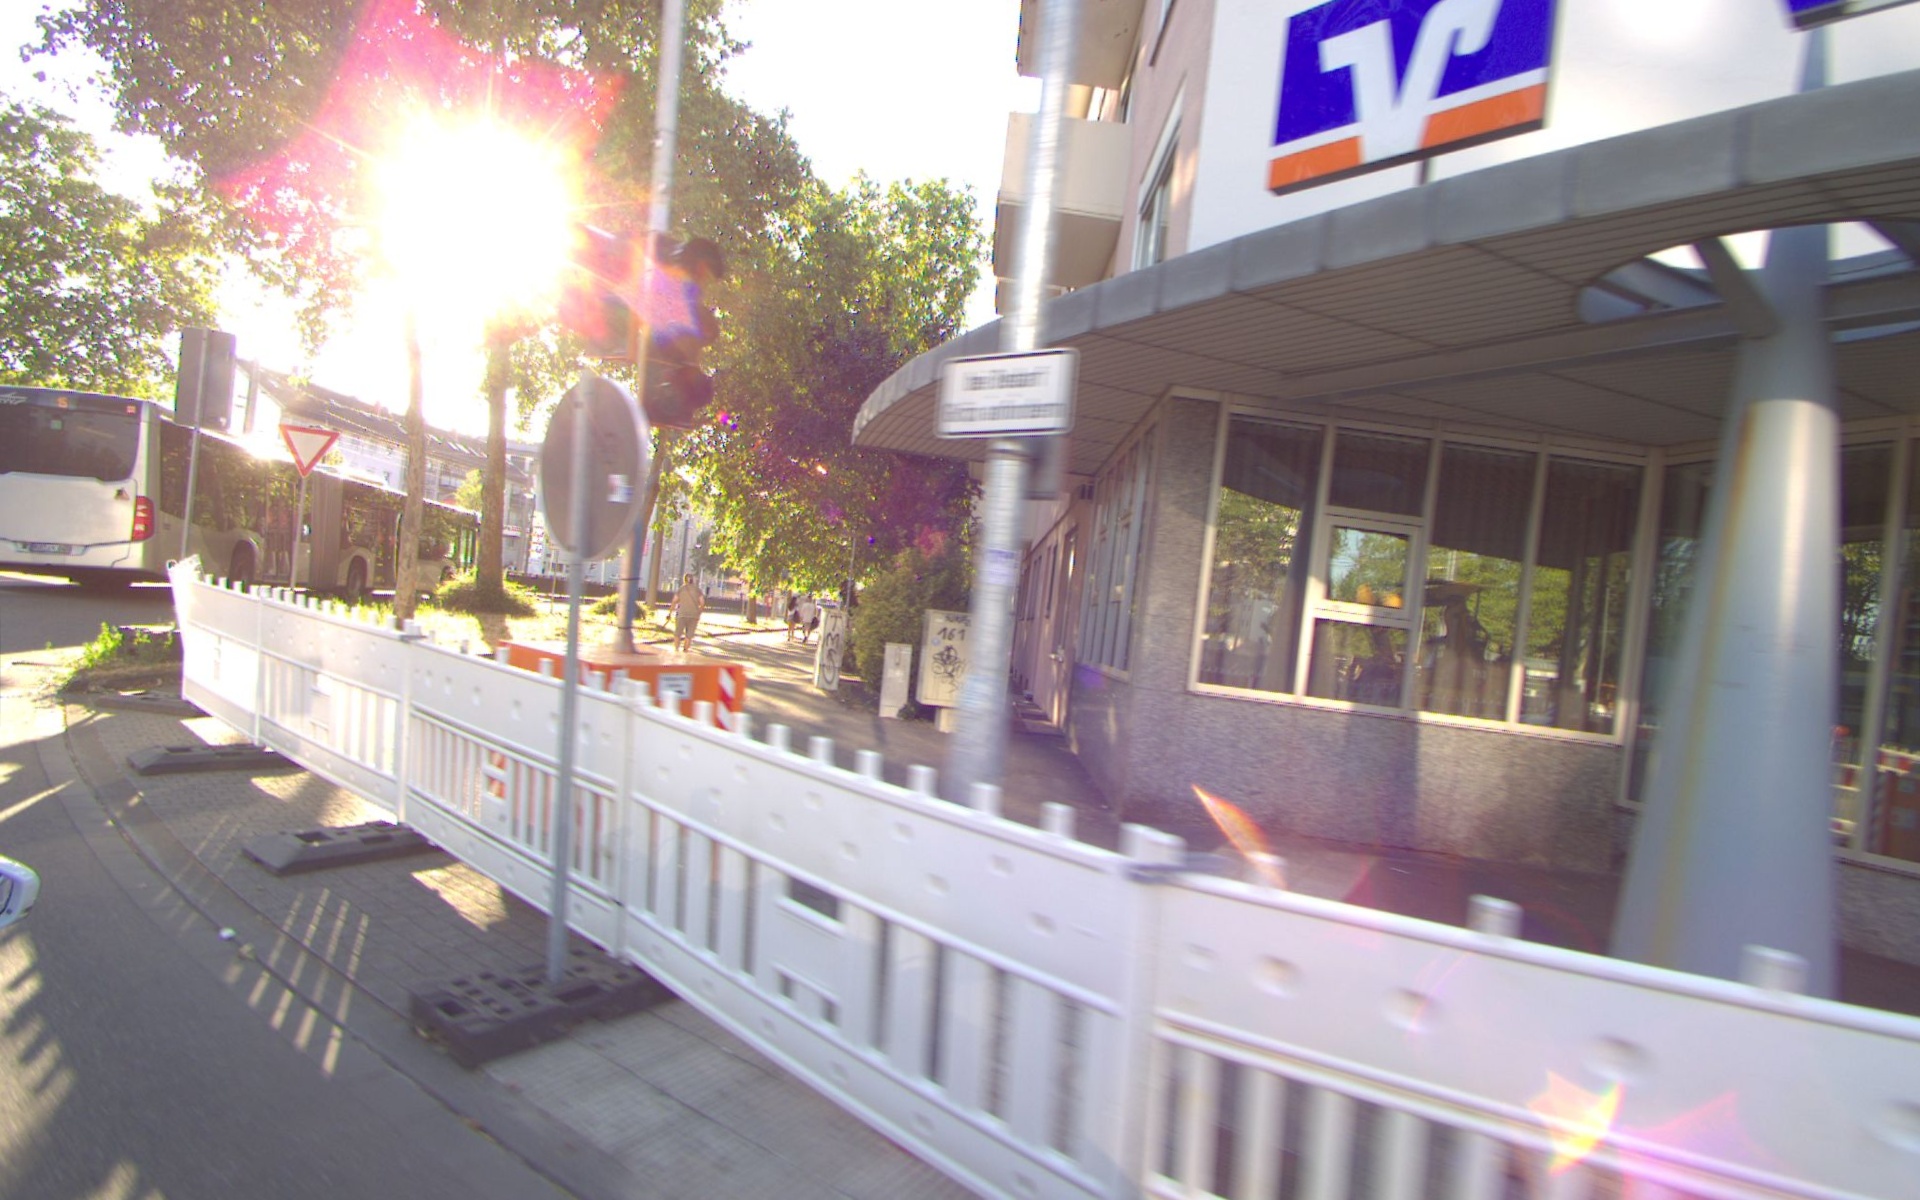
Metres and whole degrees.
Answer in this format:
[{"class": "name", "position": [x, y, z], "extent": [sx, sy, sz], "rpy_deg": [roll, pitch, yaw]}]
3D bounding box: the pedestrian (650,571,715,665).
[{"class": "pedestrian", "position": [-4.780, 0.306, 17.393], "extent": [0.778, 1.492, 0.816], "rpy_deg": [7, 0, -4]}]

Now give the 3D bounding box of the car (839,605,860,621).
[{"class": "car", "position": [-11.978, 1.416, 109.031], "extent": [1.645, 1.480, 3.934], "rpy_deg": [7, -1, 1]}]

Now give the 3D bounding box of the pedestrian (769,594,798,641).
[{"class": "pedestrian", "position": [-6.401, 0.620, 36.483], "extent": [0.778, 1.591, 0.816], "rpy_deg": [7, 0, -4]}]

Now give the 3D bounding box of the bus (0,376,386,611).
[{"class": "bus", "position": [-14.873, -1.656, 20.189], "extent": [2.700, 3.175, 10.674], "rpy_deg": [8, -1, -14]}]

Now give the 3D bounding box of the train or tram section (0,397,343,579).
[{"class": "train or tram section", "position": [-23.137, -2.824, 28.513], "extent": [2.600, 3.561, 13.339], "rpy_deg": [7, -1, 1]}]

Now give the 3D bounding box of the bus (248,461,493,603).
[{"class": "bus", "position": [-16.530, -1.648, 29.186], "extent": [2.671, 3.144, 8.968], "rpy_deg": [7, -1, -8]}]

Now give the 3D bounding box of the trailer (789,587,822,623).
[{"class": "trailer", "position": [-12.233, 0.407, 79.750], "extent": [1.804, 2.588, 3.320], "rpy_deg": [6, -1, 1]}]

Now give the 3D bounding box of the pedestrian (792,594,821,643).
[{"class": "pedestrian", "position": [-5.552, 0.669, 36.506], "extent": [0.778, 1.687, 0.816], "rpy_deg": [7, 0, -4]}]

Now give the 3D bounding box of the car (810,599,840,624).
[{"class": "car", "position": [-12.441, 1.071, 92.998], "extent": [1.818, 1.979, 4.546], "rpy_deg": [7, -2, 1]}]
